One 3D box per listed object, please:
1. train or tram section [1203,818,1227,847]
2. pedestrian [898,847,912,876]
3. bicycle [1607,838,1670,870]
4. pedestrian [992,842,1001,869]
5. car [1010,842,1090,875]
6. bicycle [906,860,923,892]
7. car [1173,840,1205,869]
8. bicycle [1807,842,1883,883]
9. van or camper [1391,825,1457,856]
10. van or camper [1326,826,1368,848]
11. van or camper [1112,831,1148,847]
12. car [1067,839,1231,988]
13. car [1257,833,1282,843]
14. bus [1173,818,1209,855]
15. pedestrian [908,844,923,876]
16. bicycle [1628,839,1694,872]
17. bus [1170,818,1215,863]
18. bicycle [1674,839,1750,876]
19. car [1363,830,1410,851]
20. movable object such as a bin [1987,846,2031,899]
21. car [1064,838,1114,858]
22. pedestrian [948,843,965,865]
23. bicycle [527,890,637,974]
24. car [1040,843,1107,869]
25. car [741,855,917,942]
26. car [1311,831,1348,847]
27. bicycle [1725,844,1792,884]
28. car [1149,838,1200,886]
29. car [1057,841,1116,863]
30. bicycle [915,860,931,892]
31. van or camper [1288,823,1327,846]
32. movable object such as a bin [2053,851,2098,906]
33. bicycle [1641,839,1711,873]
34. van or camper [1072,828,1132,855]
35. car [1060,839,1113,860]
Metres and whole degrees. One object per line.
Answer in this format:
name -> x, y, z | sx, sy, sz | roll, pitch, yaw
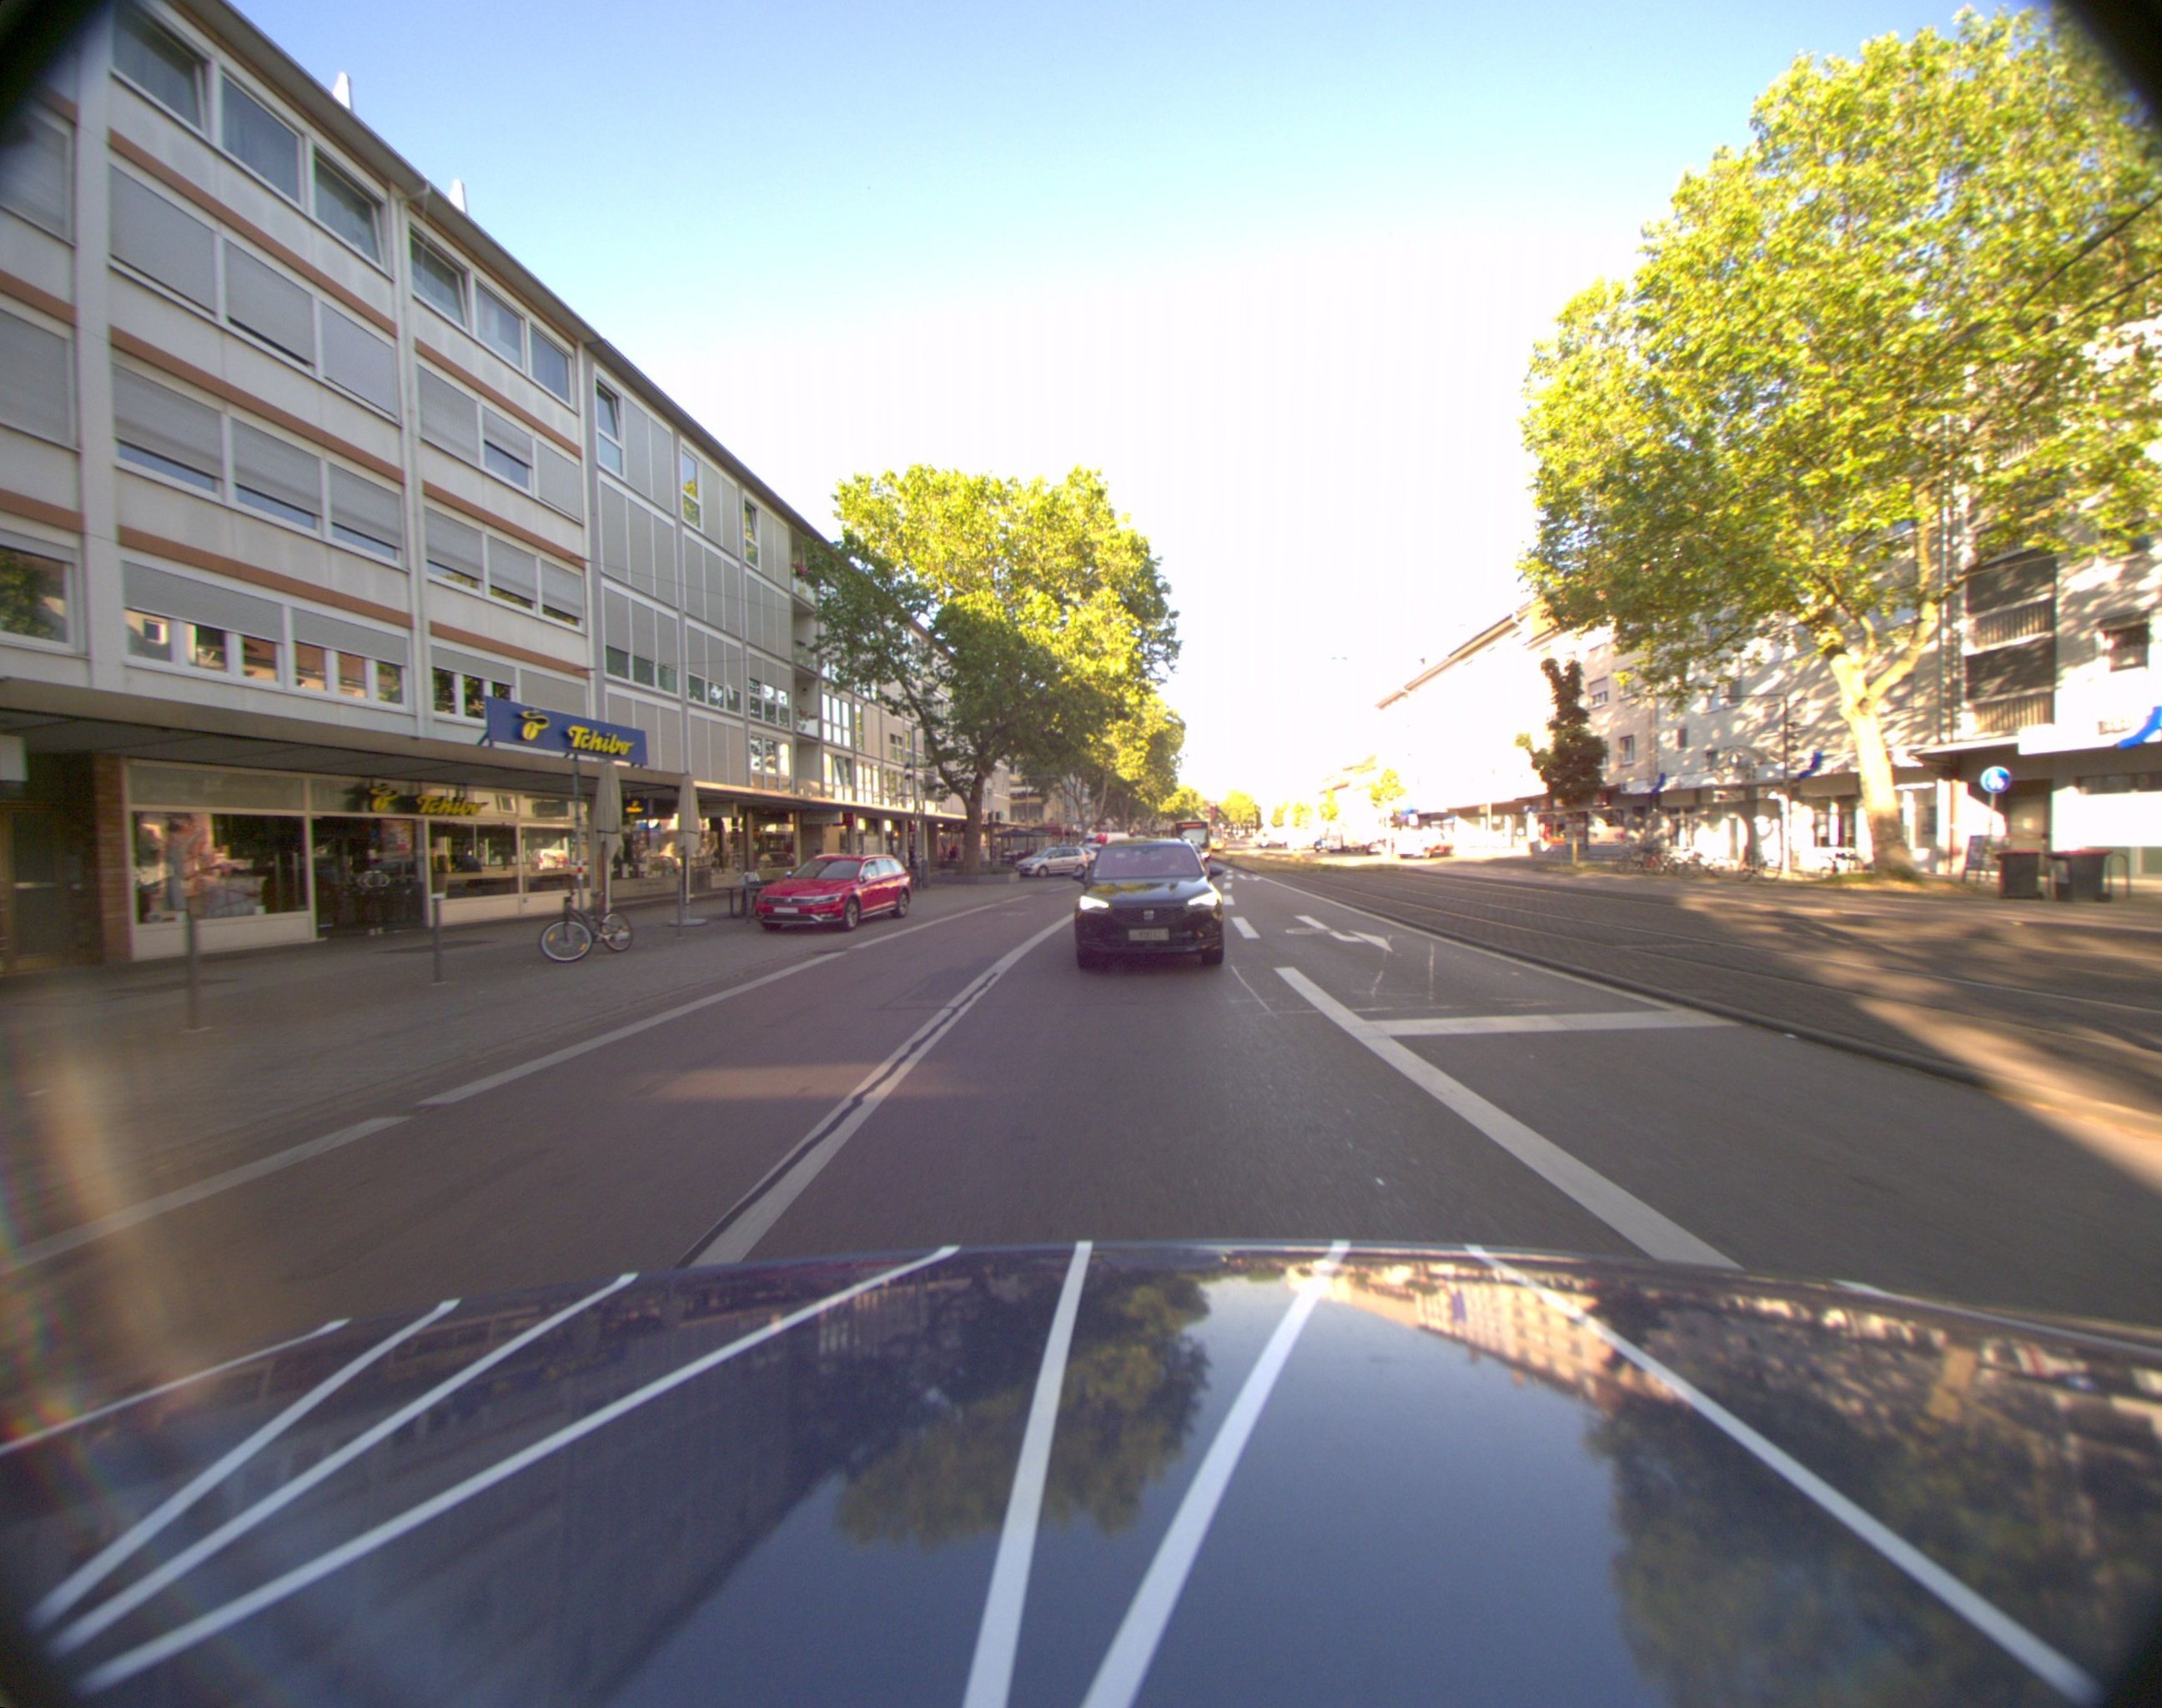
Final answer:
train or tram section -> 17.046, -2.726, 96.579 | 2.636, 3.430, 11.136 | -2, 1, 10
pedestrian -> -8.879, 0.373, 38.344 | 0.538, 1.393, 0.687 | 1, 2, 6
bicycle -> 21.170, 0.010, 28.874 | 1.898, 1.118, 0.534 | -2, 2, 4
pedestrian -> -6.318, 0.094, 56.761 | 0.552, 2.002, 0.577 | -4, 2, -8
car -> -1.608, 0.204, 40.257 | 4.007, 1.597, 1.804 | -2, 2, -41
bicycle -> -5.993, 0.780, 27.428 | 0.295, 1.095, 1.717 | 1, 1, -3
car -> 6.033, -0.004, 42.172 | 1.657, 1.477, 4.163 | -1, 1, 9
bicycle -> 22.330, 0.215, 22.269 | 0.509, 1.118, 1.912 | -2, 1, 8
van or camper -> 23.864, -0.959, 52.756 | 4.822, 1.887, 1.946 | -4, 1, -36
van or camper -> 27.167, -1.746, 77.472 | 4.458, 1.978, 1.795 | -4, 2, -38
van or camper -> 7.672, -2.343, 118.470 | 5.472, 2.455, 1.995 | -3, 2, -36
car -> 1.030, 0.652, 10.667 | 1.807, 1.638, 4.001 | -2, 1, 8
car -> 32.940, -2.748, 132.727 | 3.918, 1.482, 1.767 | -4, 1, -16
bus -> 10.188, -1.711, 70.507 | 2.870, 2.962, 12.242 | -3, 2, 8
pedestrian -> -8.298, 0.285, 38.156 | 0.538, 1.583, 0.687 | 1, 2, 6
bicycle -> 21.065, 0.045, 27.624 | 1.898, 1.118, 0.534 | -2, 2, 4
bus -> 8.523, -1.206, 58.470 | 2.870, 2.962, 12.242 | -3, 2, 8
bicycle -> 20.842, 0.114, 25.116 | 1.898, 1.118, 0.652 | -2, 2, 4
car -> 25.725, -1.137, 63.941 | 4.459, 1.482, 1.765 | -4, 2, -40
movable object such as a bin -> 19.879, 0.387, 16.285 | 0.649, 1.087, 0.544 | -2, 2, -44
car -> 0.716, -0.512, 64.514 | 4.007, 1.555, 1.655 | -2, 3, -34
pedestrian -> -8.159, -0.004, 49.830 | 0.749, 1.354, 0.963 | -1, 2, 11
bicycle -> -7.465, 1.127, 11.460 | 0.512, 1.064, 1.661 | 0, 1, 2
car -> -0.454, 0.092, 47.608 | 4.007, 1.428, 1.655 | -2, 3, -37
car -> -5.172, 0.822, 16.373 | 1.782, 1.488, 4.569 | 1, 1, 7
car -> 27.601, -1.669, 84.377 | 4.006, 1.577, 1.875 | -4, 1, -37
bicycle -> 20.226, 0.283, 22.721 | 0.509, 1.118, 1.912 | -2, 1, 8
car -> 3.400, 0.229, 27.065 | 1.657, 1.572, 4.002 | -1, 1, 9
car -> 0.410, -0.162, 54.699 | 4.007, 1.428, 1.655 | -2, 3, -34
bicycle -> -5.710, 0.777, 27.467 | 0.295, 1.034, 1.717 | 1, 1, -3
van or camper -> 29.293, -2.579, 98.203 | 1.995, 2.652, 6.409 | -2, 2, 44
movable object such as a bin -> 19.985, 0.480, 15.275 | 0.575, 1.087, 0.476 | -2, 2, -44
bicycle -> 20.990, 0.070, 26.825 | 1.898, 1.118, 0.652 | -2, 2, 4
van or camper -> 2.039, -1.194, 71.788 | 5.472, 2.455, 1.995 | -2, 2, -34
car -> 0.435, -0.380, 61.316 | 4.007, 1.515, 1.655 | -2, 3, -34
